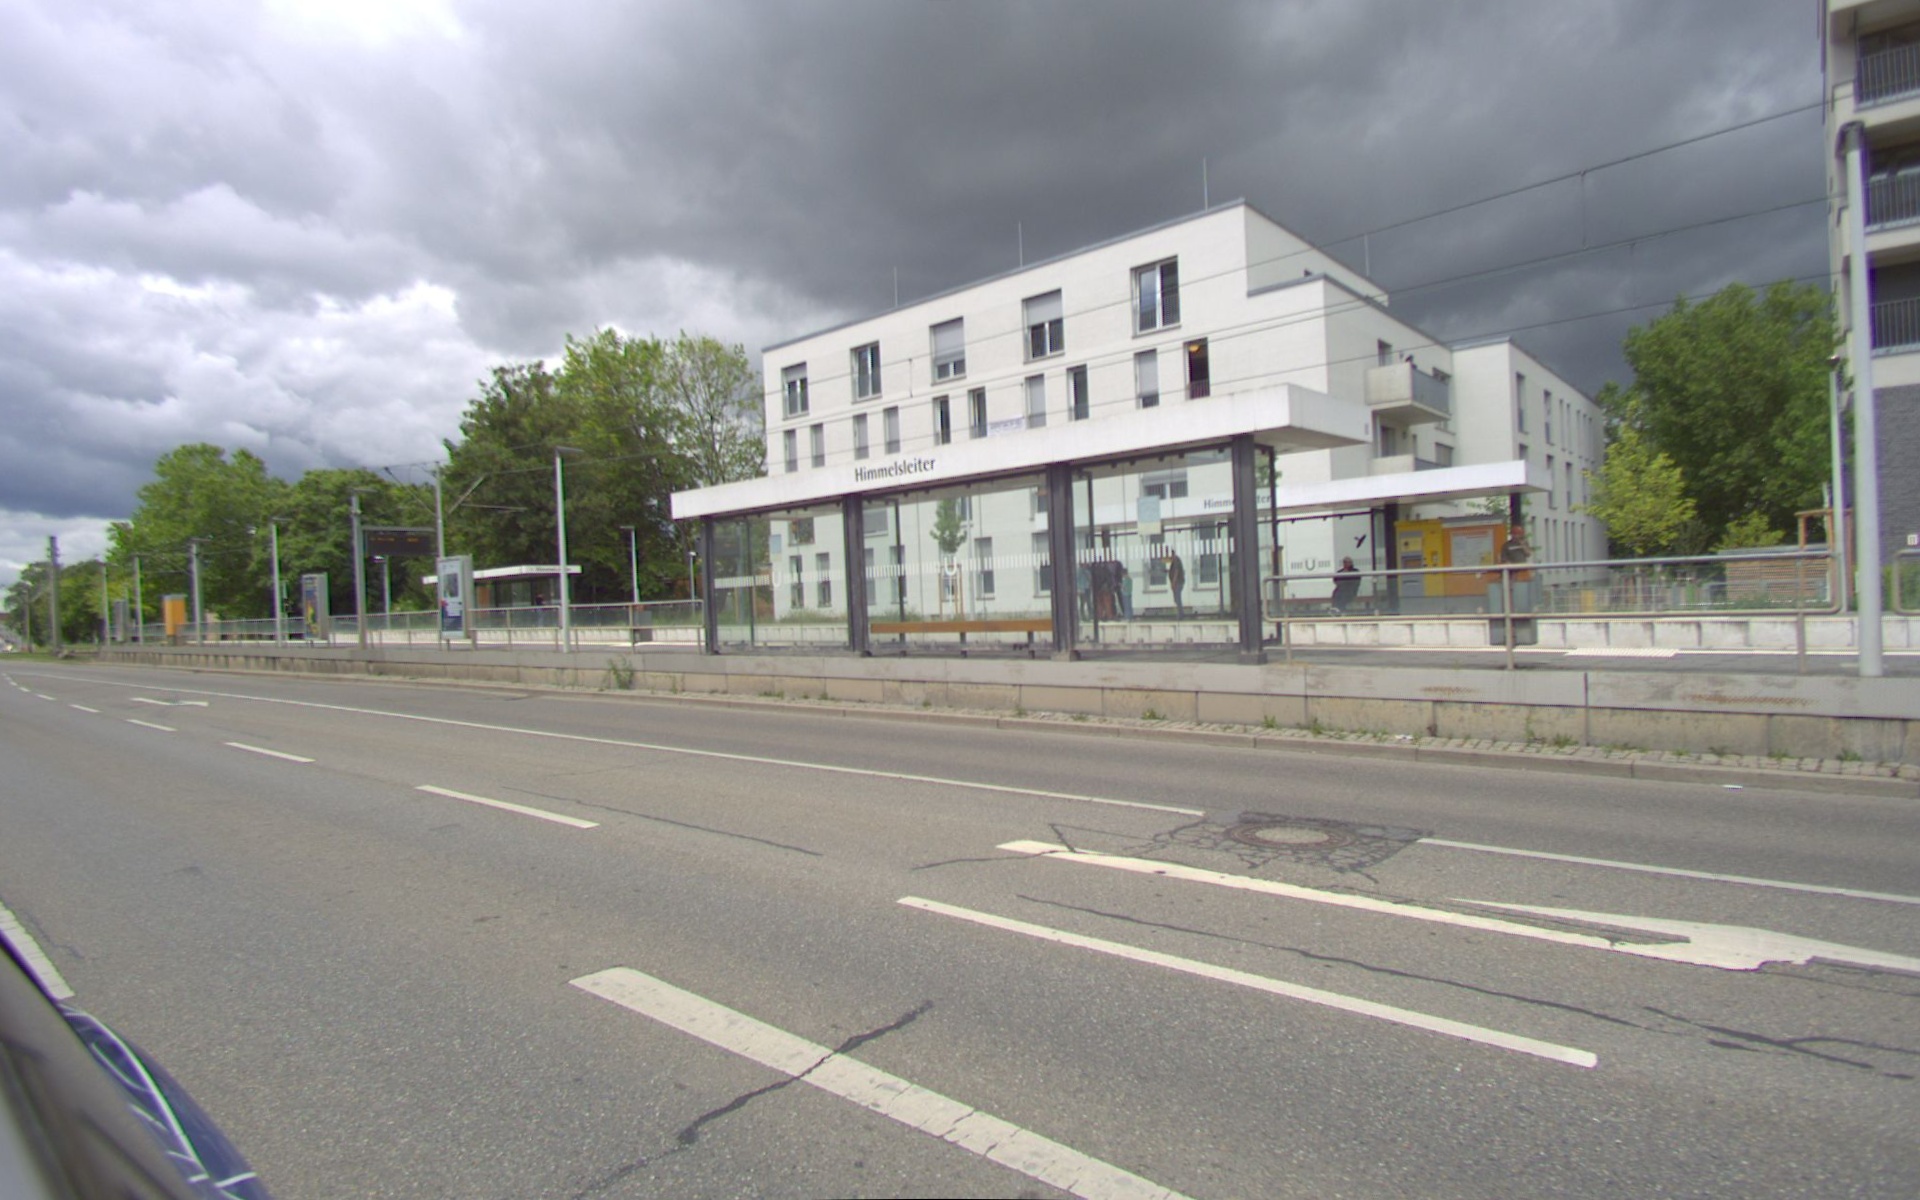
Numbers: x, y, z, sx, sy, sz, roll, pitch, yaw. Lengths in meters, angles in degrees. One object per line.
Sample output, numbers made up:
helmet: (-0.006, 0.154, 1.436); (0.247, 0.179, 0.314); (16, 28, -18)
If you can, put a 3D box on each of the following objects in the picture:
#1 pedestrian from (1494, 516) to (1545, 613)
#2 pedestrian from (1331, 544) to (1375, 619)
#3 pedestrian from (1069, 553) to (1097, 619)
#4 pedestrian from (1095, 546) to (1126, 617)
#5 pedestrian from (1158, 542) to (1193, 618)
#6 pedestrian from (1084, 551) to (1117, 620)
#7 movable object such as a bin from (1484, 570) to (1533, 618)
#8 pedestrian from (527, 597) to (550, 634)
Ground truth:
pedestrian: (10.588, -0.654, 19.146); (0.677, 1.779, 0.555); (-2, 0, 42)
pedestrian: (8.443, -0.388, 21.749); (0.677, 1.566, 0.555); (-2, 0, 42)
pedestrian: (3.043, -0.339, 25.161); (0.481, 1.608, 0.679); (-2, 0, -7)
pedestrian: (3.729, -0.458, 25.142); (0.669, 1.738, 0.488); (-2, 0, 6)
pedestrian: (5.136, -0.472, 24.138); (0.481, 1.779, 0.679); (-2, 0, -15)
pedestrian: (3.346, -0.348, 24.126); (0.481, 1.608, 0.679); (-2, 0, -15)
movable object such as a bin: (10.218, -0.118, 18.858); (0.677, 0.856, 0.555); (-2, 0, 42)
pedestrian: (-18.185, 0.660, 43.626); (0.732, 1.542, 0.547); (-2, 0, -4)
